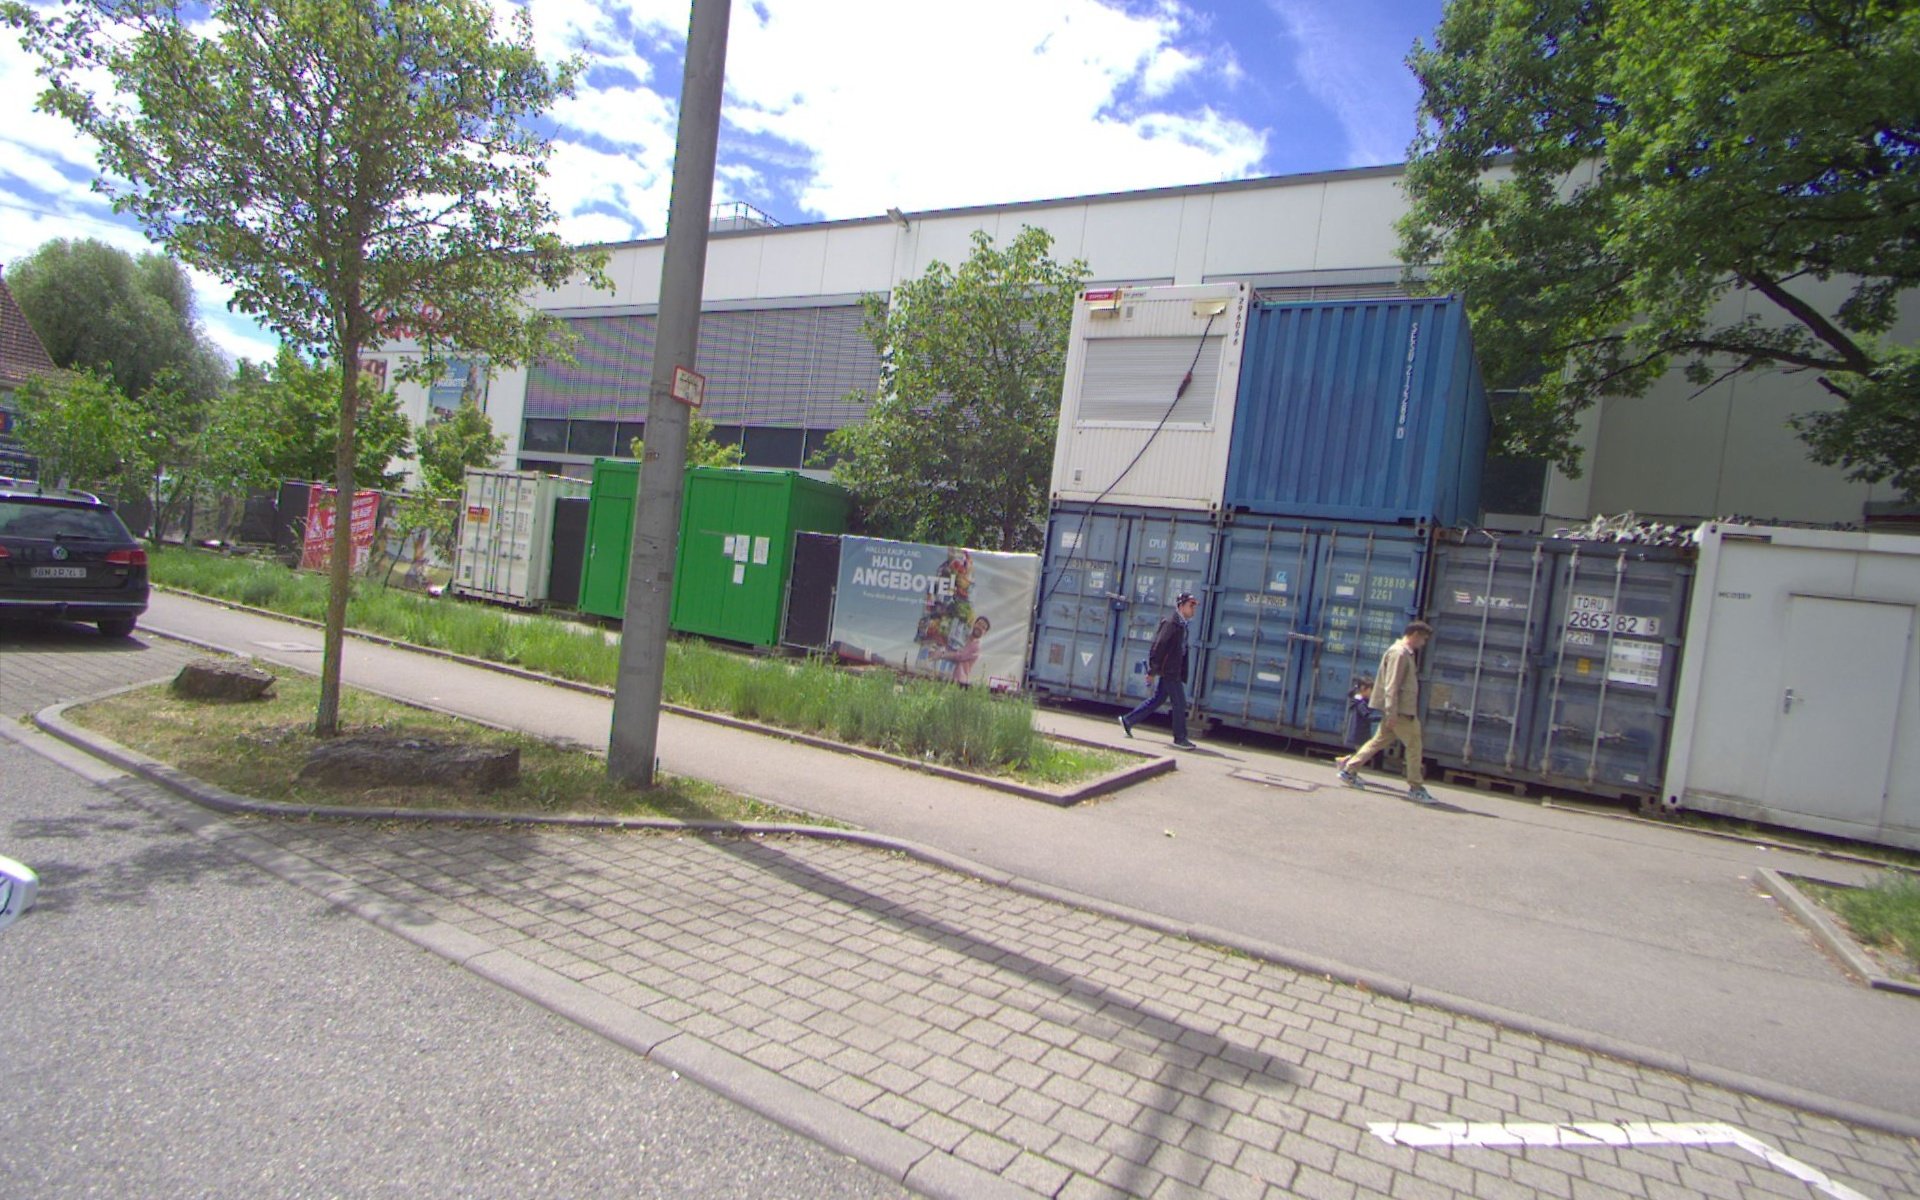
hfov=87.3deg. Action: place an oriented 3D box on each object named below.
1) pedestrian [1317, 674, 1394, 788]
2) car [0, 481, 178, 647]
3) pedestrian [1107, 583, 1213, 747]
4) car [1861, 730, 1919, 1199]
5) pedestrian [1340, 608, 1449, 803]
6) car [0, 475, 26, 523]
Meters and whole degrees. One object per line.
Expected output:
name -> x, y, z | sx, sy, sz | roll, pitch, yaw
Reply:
pedestrian -> 4.055, 1.328, 10.313 | 0.557, 1.071, 0.412 | 7, 1, 31
car -> -10.525, -0.542, 10.805 | 4.854, 1.497, 1.764 | 7, 3, 32
pedestrian -> 2.278, 0.730, 11.435 | 0.830, 1.718, 0.652 | 7, 1, 31
car -> 4.839, 1.214, 1.452 | 4.759, 1.643, 1.882 | 7, 2, 24
pedestrian -> 4.166, 0.986, 9.634 | 0.712, 1.717, 0.651 | 7, 1, 31
car -> -35.778, -3.876, 35.367 | 1.584, 1.626, 3.987 | 8, -1, 37
